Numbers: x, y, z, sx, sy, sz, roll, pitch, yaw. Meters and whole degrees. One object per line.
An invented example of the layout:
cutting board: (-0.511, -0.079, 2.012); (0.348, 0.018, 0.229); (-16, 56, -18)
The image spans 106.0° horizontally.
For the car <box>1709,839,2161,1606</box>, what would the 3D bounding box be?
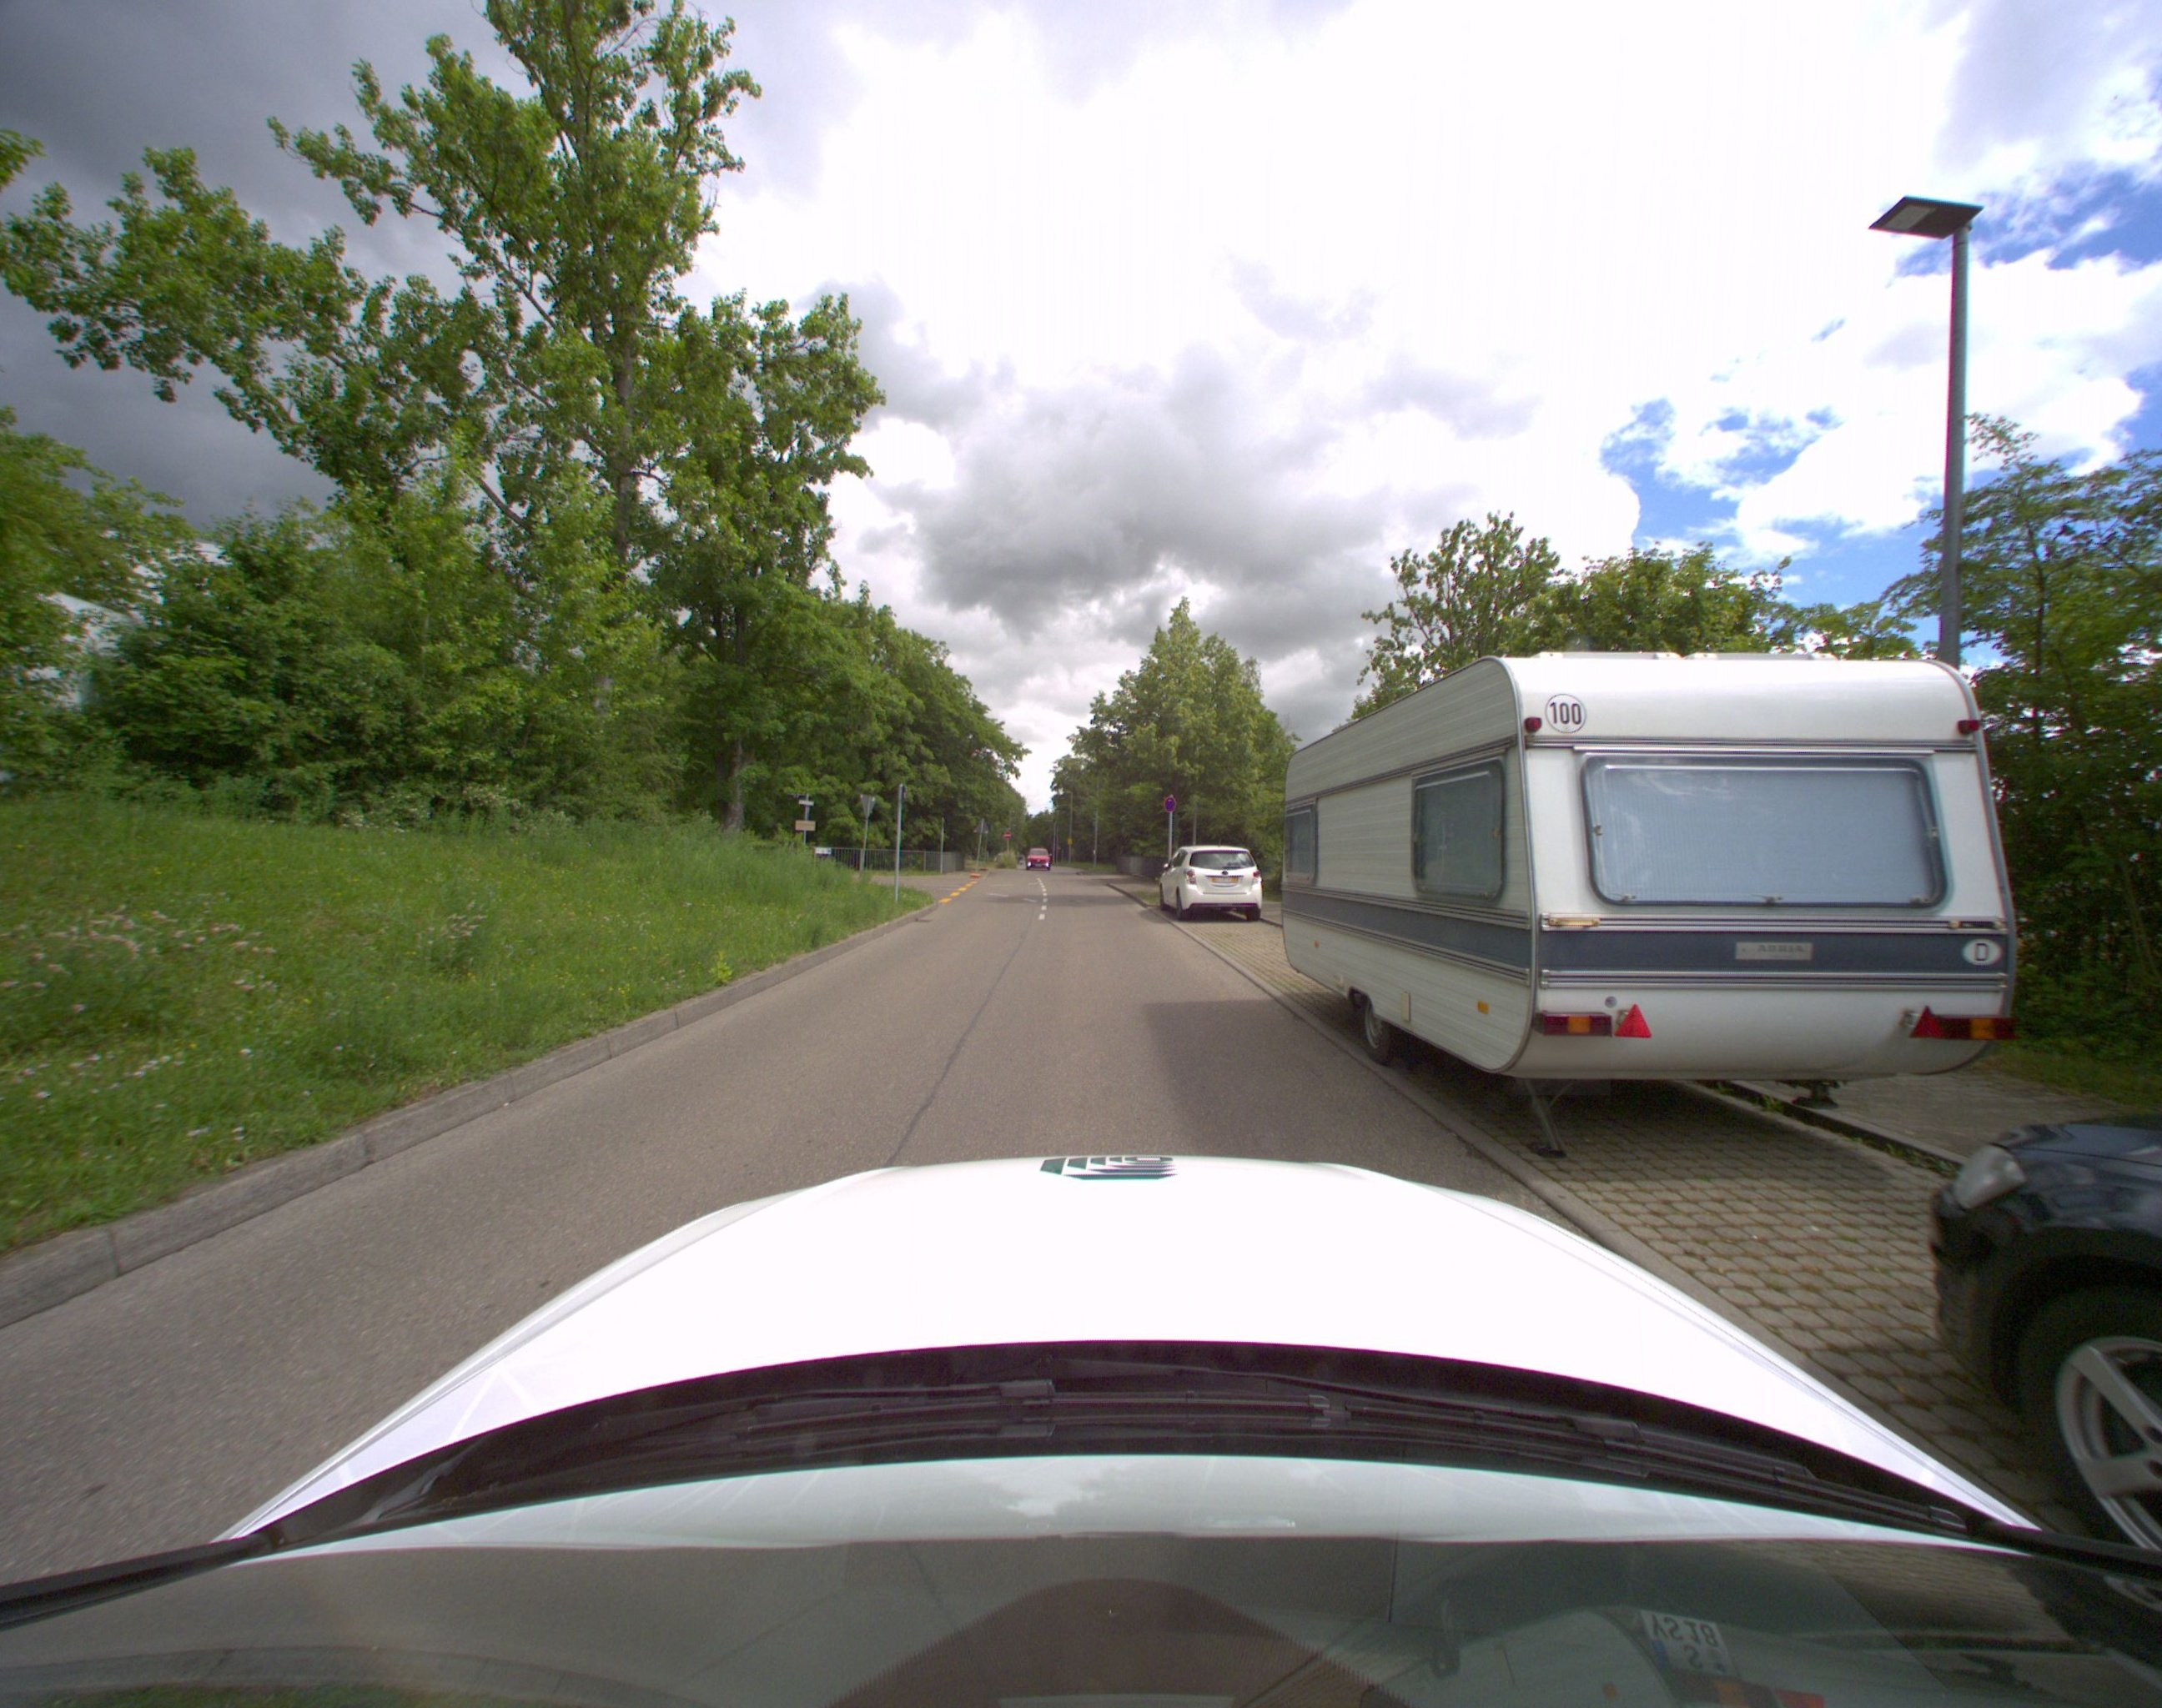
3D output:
car: (2.893, 0.706, 0.431); (1.676, 1.451, 4.479); (1, 0, 0)

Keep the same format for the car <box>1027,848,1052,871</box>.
car: (-3.128, 0.375, 62.108); (1.838, 1.658, 4.219); (1, 0, -2)

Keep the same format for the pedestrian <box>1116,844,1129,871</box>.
pedestrian: (2.867, 0.239, 55.995); (0.590, 1.783, 0.676); (2, -2, -27)

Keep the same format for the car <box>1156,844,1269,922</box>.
car: (2.909, 0.582, 18.960); (1.800, 1.600, 4.368); (0, 0, -2)

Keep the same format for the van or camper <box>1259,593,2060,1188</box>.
van or camper: (3.063, 0.156, 6.055); (2.347, 2.554, 5.073); (0, 0, 0)
